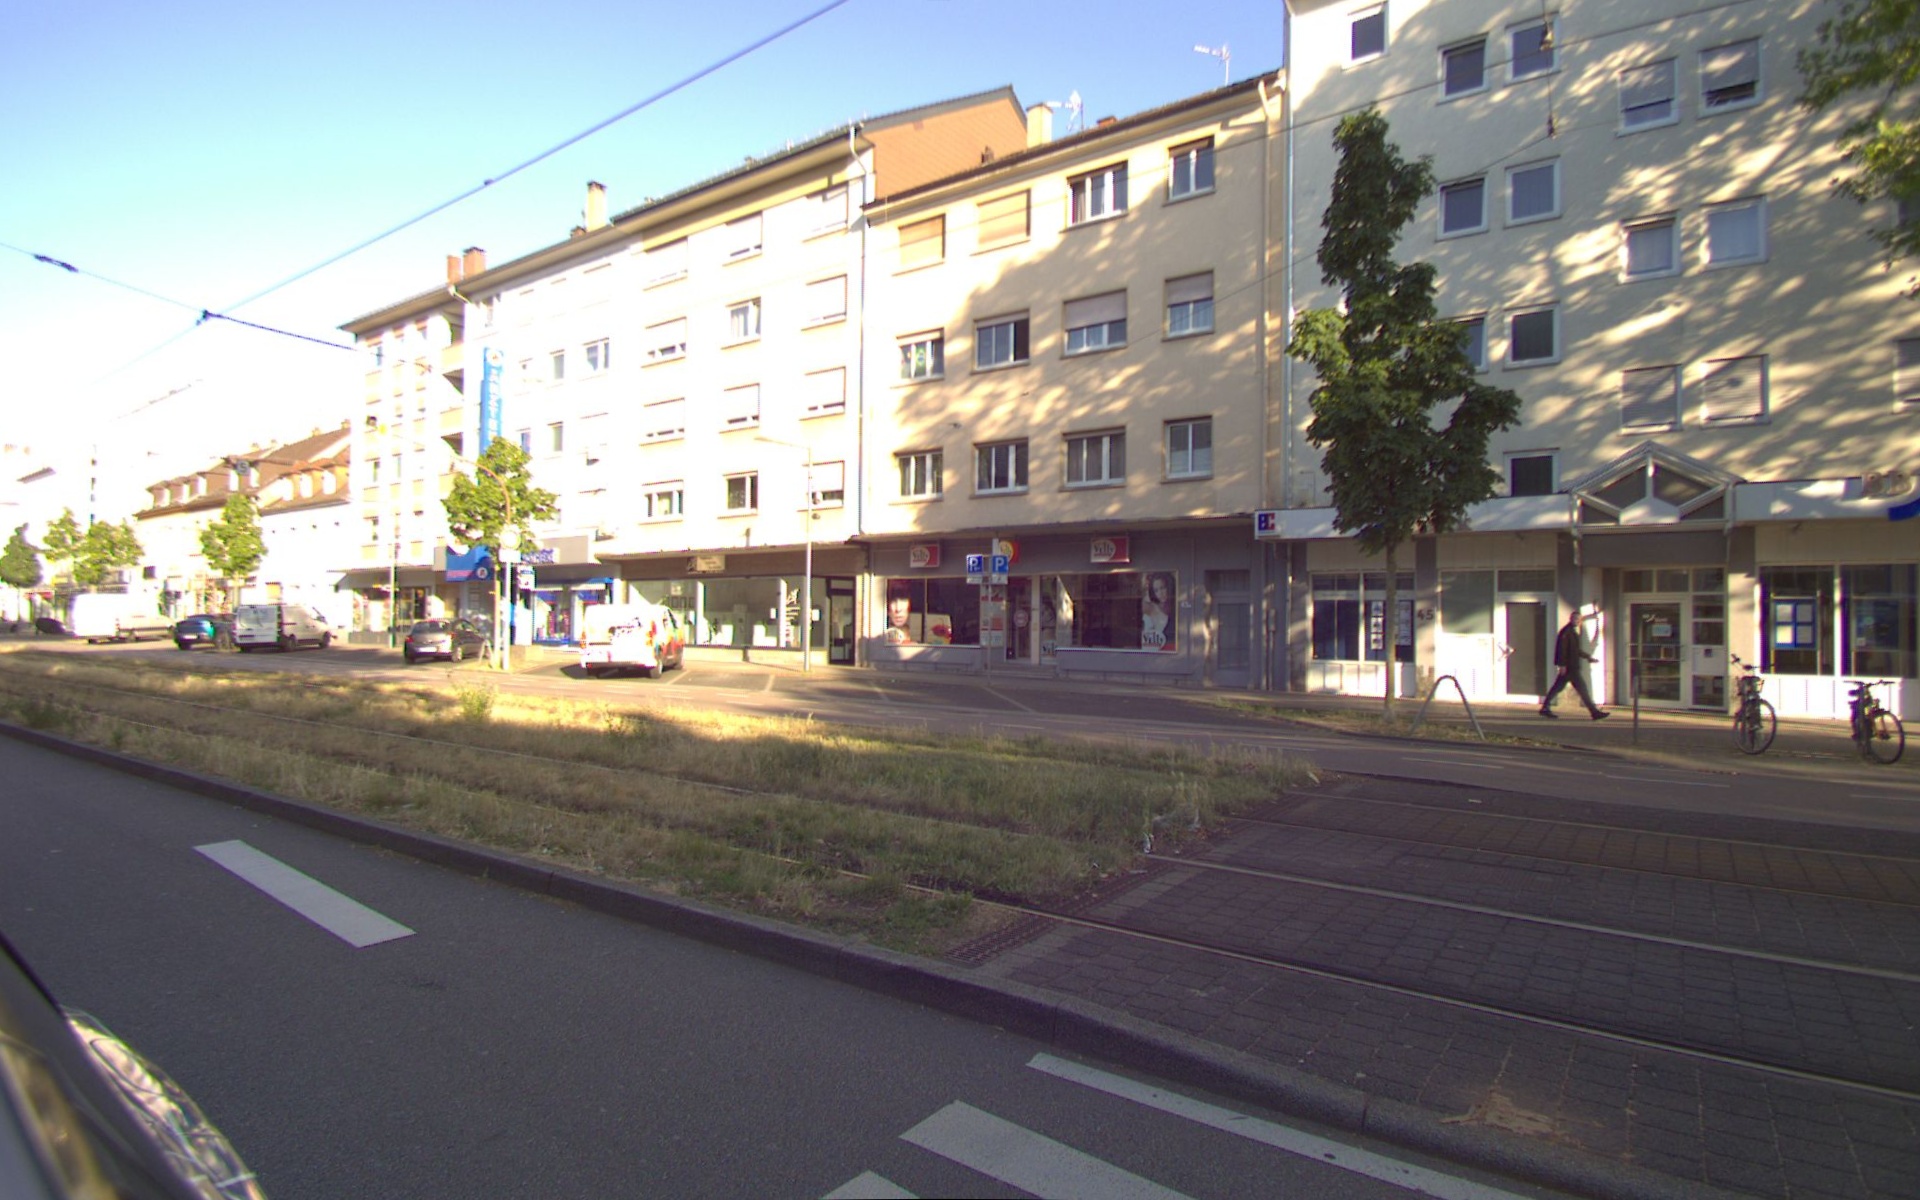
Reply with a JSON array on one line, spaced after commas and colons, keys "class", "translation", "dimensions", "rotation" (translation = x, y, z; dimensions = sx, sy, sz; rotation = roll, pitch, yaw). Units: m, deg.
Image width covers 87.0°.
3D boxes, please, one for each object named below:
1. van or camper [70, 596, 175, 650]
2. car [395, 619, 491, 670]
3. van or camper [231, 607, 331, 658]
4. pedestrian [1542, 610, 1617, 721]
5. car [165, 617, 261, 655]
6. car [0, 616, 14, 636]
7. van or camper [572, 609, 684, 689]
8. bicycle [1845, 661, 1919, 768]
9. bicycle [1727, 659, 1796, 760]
[{"class": "van or camper", "translation": [-45.373, 1.183, 55.012], "dimensions": [1.966, 2.687, 6.417], "rotation": [-1, 0, -16]}, {"class": "car", "translation": [-17.604, 1.466, 34.694], "dimensions": [1.741, 1.501, 4.461], "rotation": [-1, 0, -11]}, {"class": "van or camper", "translation": [-28.555, 1.316, 42.750], "dimensions": [1.771, 2.004, 4.460], "rotation": [-1, 0, -8]}, {"class": "pedestrian", "translation": [10.433, 1.074, 17.046], "dimensions": [0.970, 1.801, 0.612], "rotation": [-1, 0, 41]}, {"class": "car", "translation": [-34.288, 1.615, 46.573], "dimensions": [1.850, 1.598, 4.007], "rotation": [-1, 0, -7]}, {"class": "car", "translation": [-73.381, 1.963, 75.455], "dimensions": [1.752, 1.501, 3.899], "rotation": [-1, 0, 13]}, {"class": "van or camper", "translation": [-8.880, 1.223, 27.482], "dimensions": [1.921, 1.912, 4.822], "rotation": [-1, 0, -6]}, {"class": "bicycle", "translation": [11.399, 1.366, 12.426], "dimensions": [0.533, 1.133, 1.878], "rotation": [-1, -1, 34]}, {"class": "bicycle", "translation": [10.375, 1.372, 13.145], "dimensions": [0.533, 1.133, 1.878], "rotation": [-1, -1, 34]}]
